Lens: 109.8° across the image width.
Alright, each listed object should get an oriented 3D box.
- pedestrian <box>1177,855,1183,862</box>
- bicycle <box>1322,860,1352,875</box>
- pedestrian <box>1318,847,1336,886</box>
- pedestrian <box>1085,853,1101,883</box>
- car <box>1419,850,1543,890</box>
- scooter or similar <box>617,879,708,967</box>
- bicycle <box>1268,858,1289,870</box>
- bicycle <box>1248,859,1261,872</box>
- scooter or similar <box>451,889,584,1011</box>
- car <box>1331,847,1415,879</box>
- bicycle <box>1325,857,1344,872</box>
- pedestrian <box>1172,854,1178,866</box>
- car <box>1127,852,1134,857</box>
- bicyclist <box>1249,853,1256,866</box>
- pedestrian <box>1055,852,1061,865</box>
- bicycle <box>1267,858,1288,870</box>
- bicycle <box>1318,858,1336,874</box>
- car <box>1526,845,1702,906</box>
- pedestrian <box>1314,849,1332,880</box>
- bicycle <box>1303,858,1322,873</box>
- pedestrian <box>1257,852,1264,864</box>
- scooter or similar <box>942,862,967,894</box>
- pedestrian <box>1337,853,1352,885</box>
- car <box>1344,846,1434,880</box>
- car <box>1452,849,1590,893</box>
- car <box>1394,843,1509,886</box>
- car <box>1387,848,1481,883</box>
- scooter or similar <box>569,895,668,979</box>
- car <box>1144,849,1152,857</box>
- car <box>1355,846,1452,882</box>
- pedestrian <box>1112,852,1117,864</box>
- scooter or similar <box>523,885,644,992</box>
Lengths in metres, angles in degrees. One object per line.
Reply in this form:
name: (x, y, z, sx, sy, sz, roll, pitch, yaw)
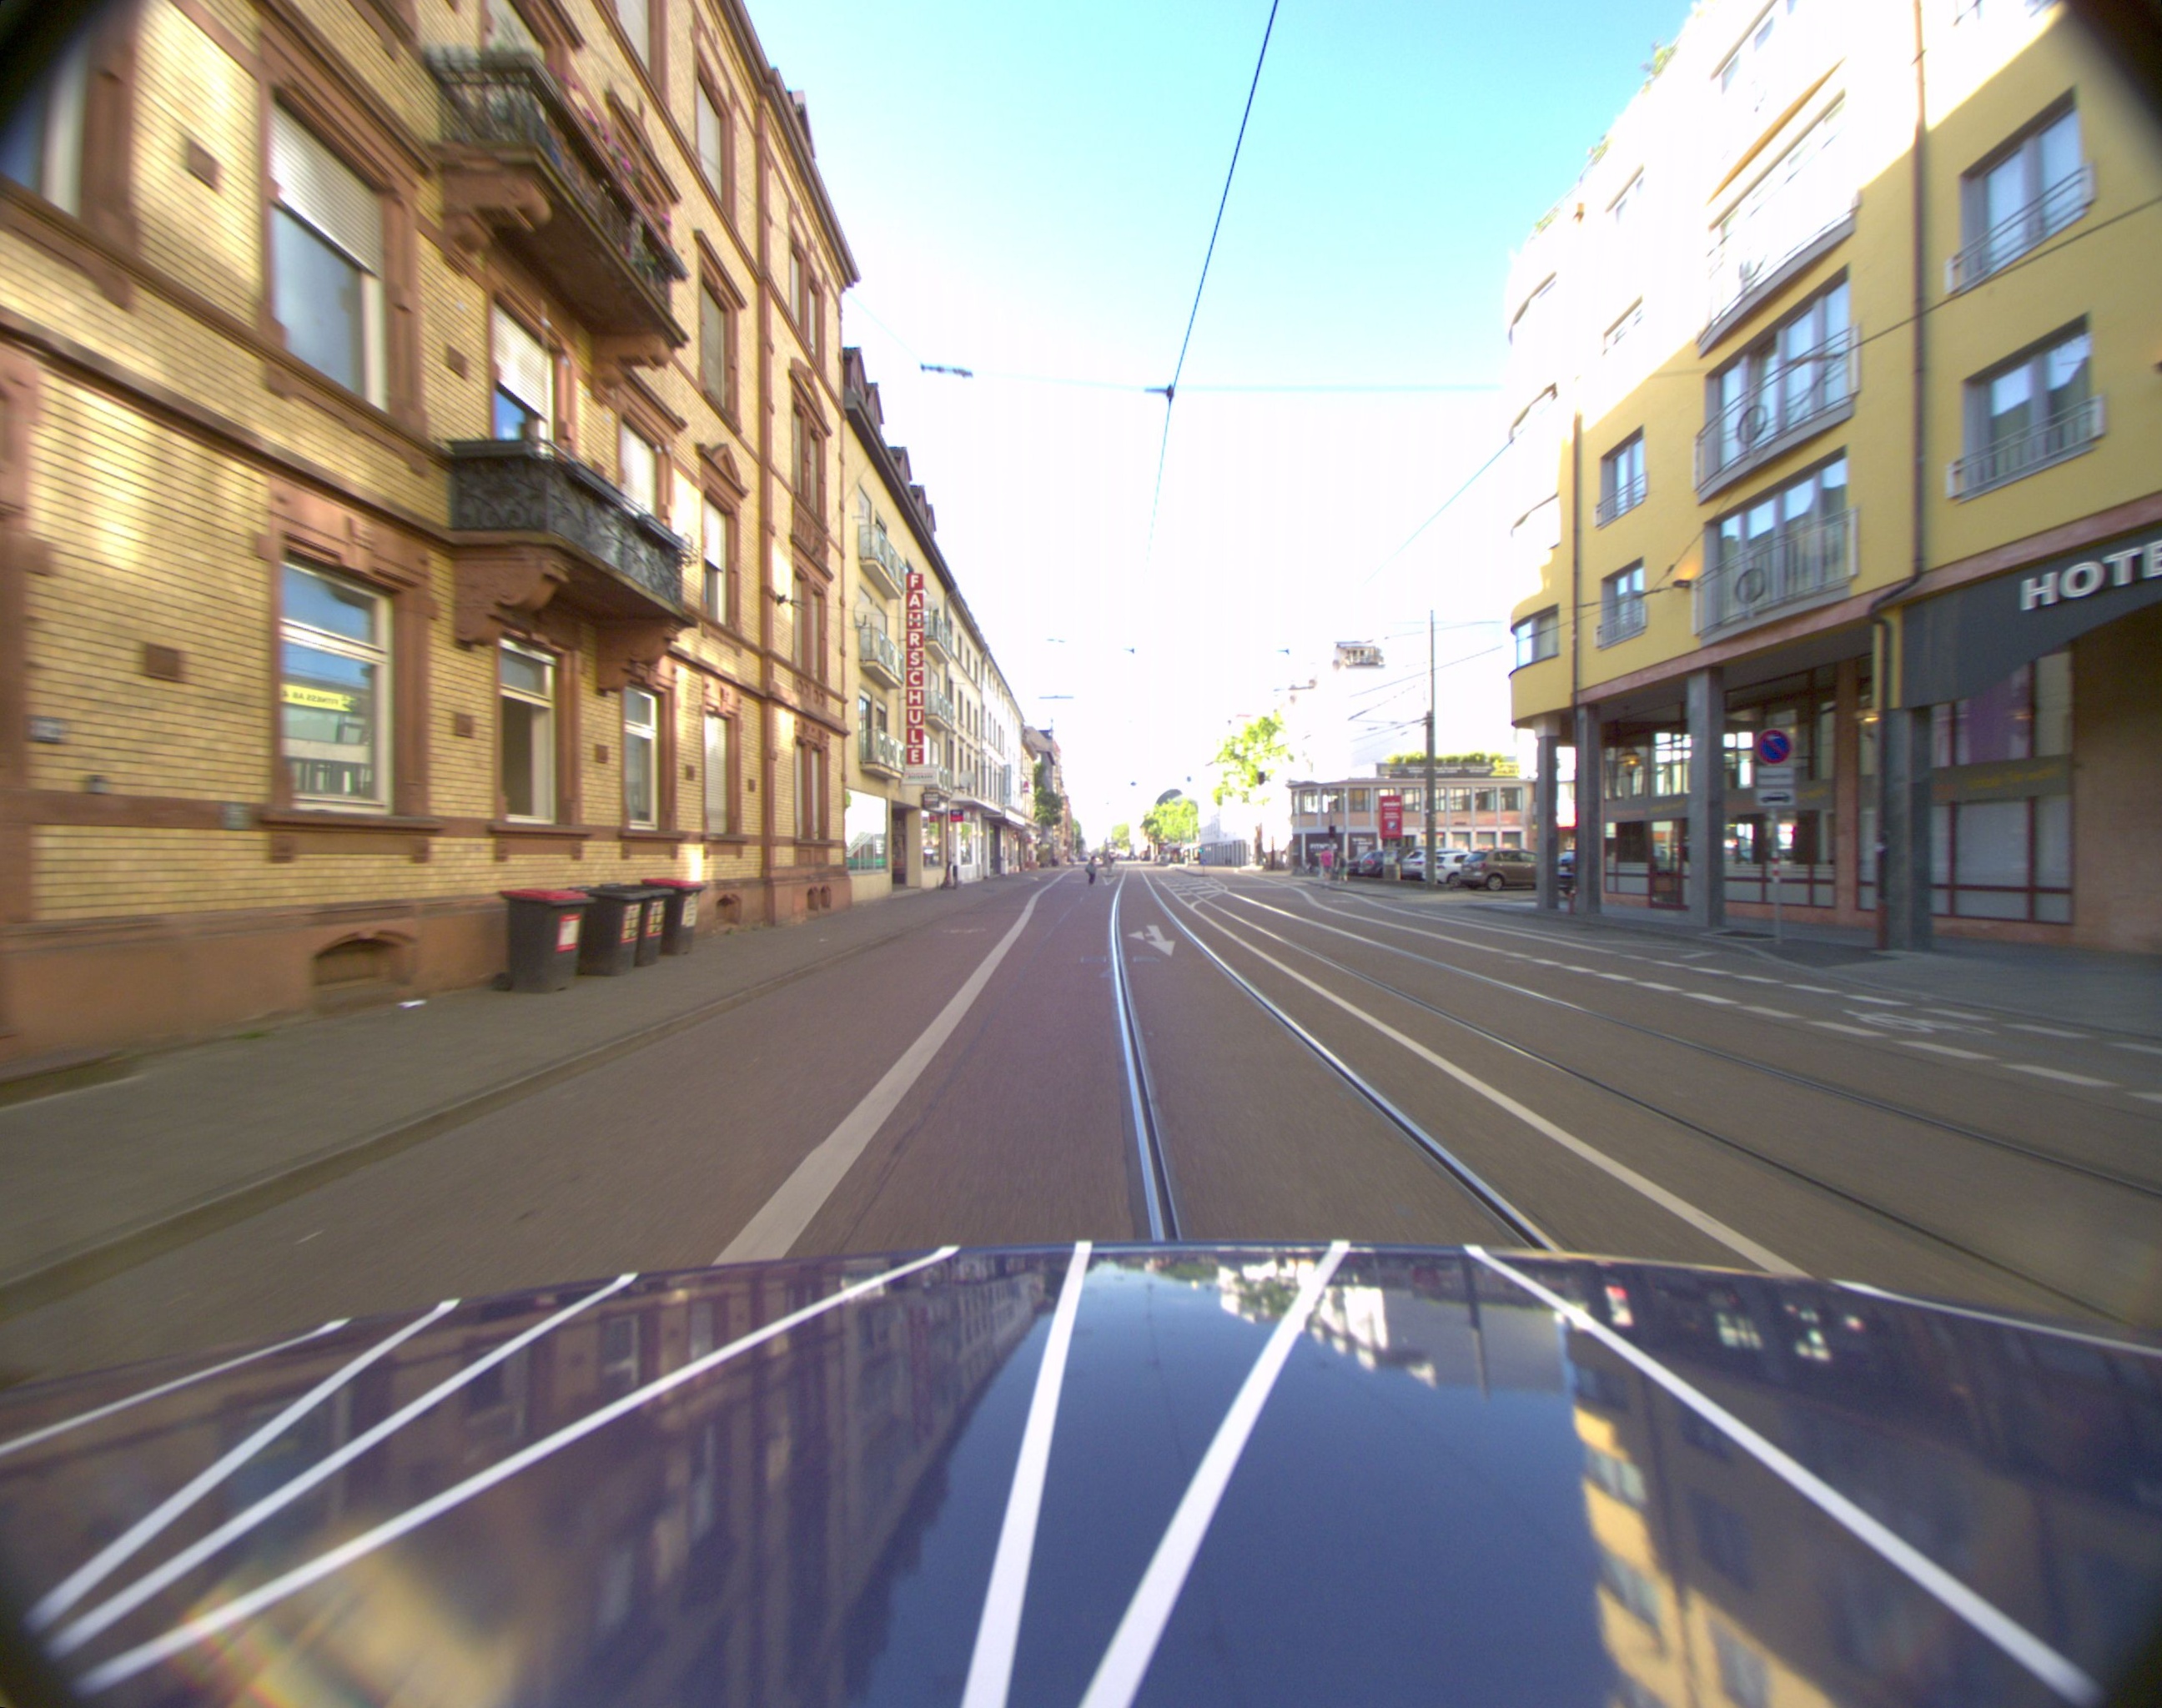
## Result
pedestrian: (14.094, 0.680, 108.399, 0.794, 0.982, 0.747, -1, 0, 2)
bicycle: (16.837, 0.879, 49.963, 1.874, 1.030, 0.426, 0, 0, 26)
pedestrian: (12.406, 0.604, 38.301, 0.639, 1.935, 0.709, -1, 1, 0)
pedestrian: (0.649, 0.750, 39.701, 0.780, 1.551, 0.650, -1, 1, 3)
car: (16.666, 0.662, 31.806, 4.243, 1.600, 1.785, -1, 0, 1)
scooter or similar: (-5.965, 0.968, 10.870, 0.792, 1.142, 0.790, 4, 0, -1)
bicycle: (18.341, 0.920, 70.456, 1.876, 1.071, 0.465, 0, 0, 9)
bicycle: (18.898, 1.225, 82.667, 0.564, 1.117, 2.005, -13, 1, 30)
scooter or similar: (-5.863, 0.979, 7.933, 0.899, 1.142, 0.547, 5, 1, -1)
car: (17.085, 0.536, 44.641, 4.244, 1.753, 1.785, -1, 0, 1)
bicycle: (17.184, 0.710, 51.454, 0.464, 1.030, 1.878, 0, 0, -6)
pedestrian: (12.923, 0.861, 104.294, 0.794, 1.635, 0.747, -1, 1, 2)
car: (16.148, 0.248, 246.315, 1.998, 1.608, 4.001, -1, 0, 2)
bicyclist: (18.677, 0.600, 82.667, 0.563, 1.355, 0.719, 2, 10, 25)
pedestrian: (-3.080, 0.607, 101.166, 0.695, 1.680, 0.688, 3, 1, 1)
bicycle: (18.453, 0.924, 71.215, 1.876, 1.071, 0.465, 0, 0, 9)
bicycle: (16.654, 0.790, 51.490, 0.464, 1.073, 1.878, 0, 0, -6)
car: (16.639, 0.638, 23.867, 4.243, 1.801, 1.785, -1, 0, 1)
pedestrian: (13.954, 0.578, 43.867, 0.715, 1.754, 0.779, -1, 1, -7)
bicycle: (15.889, 0.804, 52.135, 0.525, 1.030, 1.878, 0, 0, -6)
pedestrian: (23.888, 0.495, 101.032, 0.747, 1.635, 0.731, -1, 1, 1)
scooter or similar: (-5.274, 0.987, 31.703, 0.410, 1.274, 1.285, 4, 0, 17)
pedestrian: (13.254, 0.750, 38.263, 0.573, 1.608, 0.499, -1, 1, 0)
car: (16.994, 0.493, 42.069, 4.244, 1.801, 1.785, -1, 0, 1)
car: (16.756, 0.640, 29.101, 4.244, 1.539, 1.785, -1, 2, 1)
car: (16.546, 0.440, 34.048, 4.244, 1.802, 1.785, 1, 2, 1)
car: (17.040, 0.548, 36.797, 3.698, 1.663, 1.785, 0, 0, 1)
scooter or similar: (-5.893, 1.041, 9.723, 0.792, 0.952, 0.680, 4, 0, -1)
car: (17.749, -0.163, 201.347, 1.884, 2.001, 4.000, -2, -1, 0)
car: (16.697, 0.498, 39.471, 4.243, 1.801, 1.785, -1, 0, 2)
pedestrian: (4.543, 0.557, 103.444, 0.716, 1.635, 0.400, 0, 1, 3)
scooter or similar: (-5.889, 0.982, 9.034, 0.935, 1.142, 0.650, 4, 0, -1)
